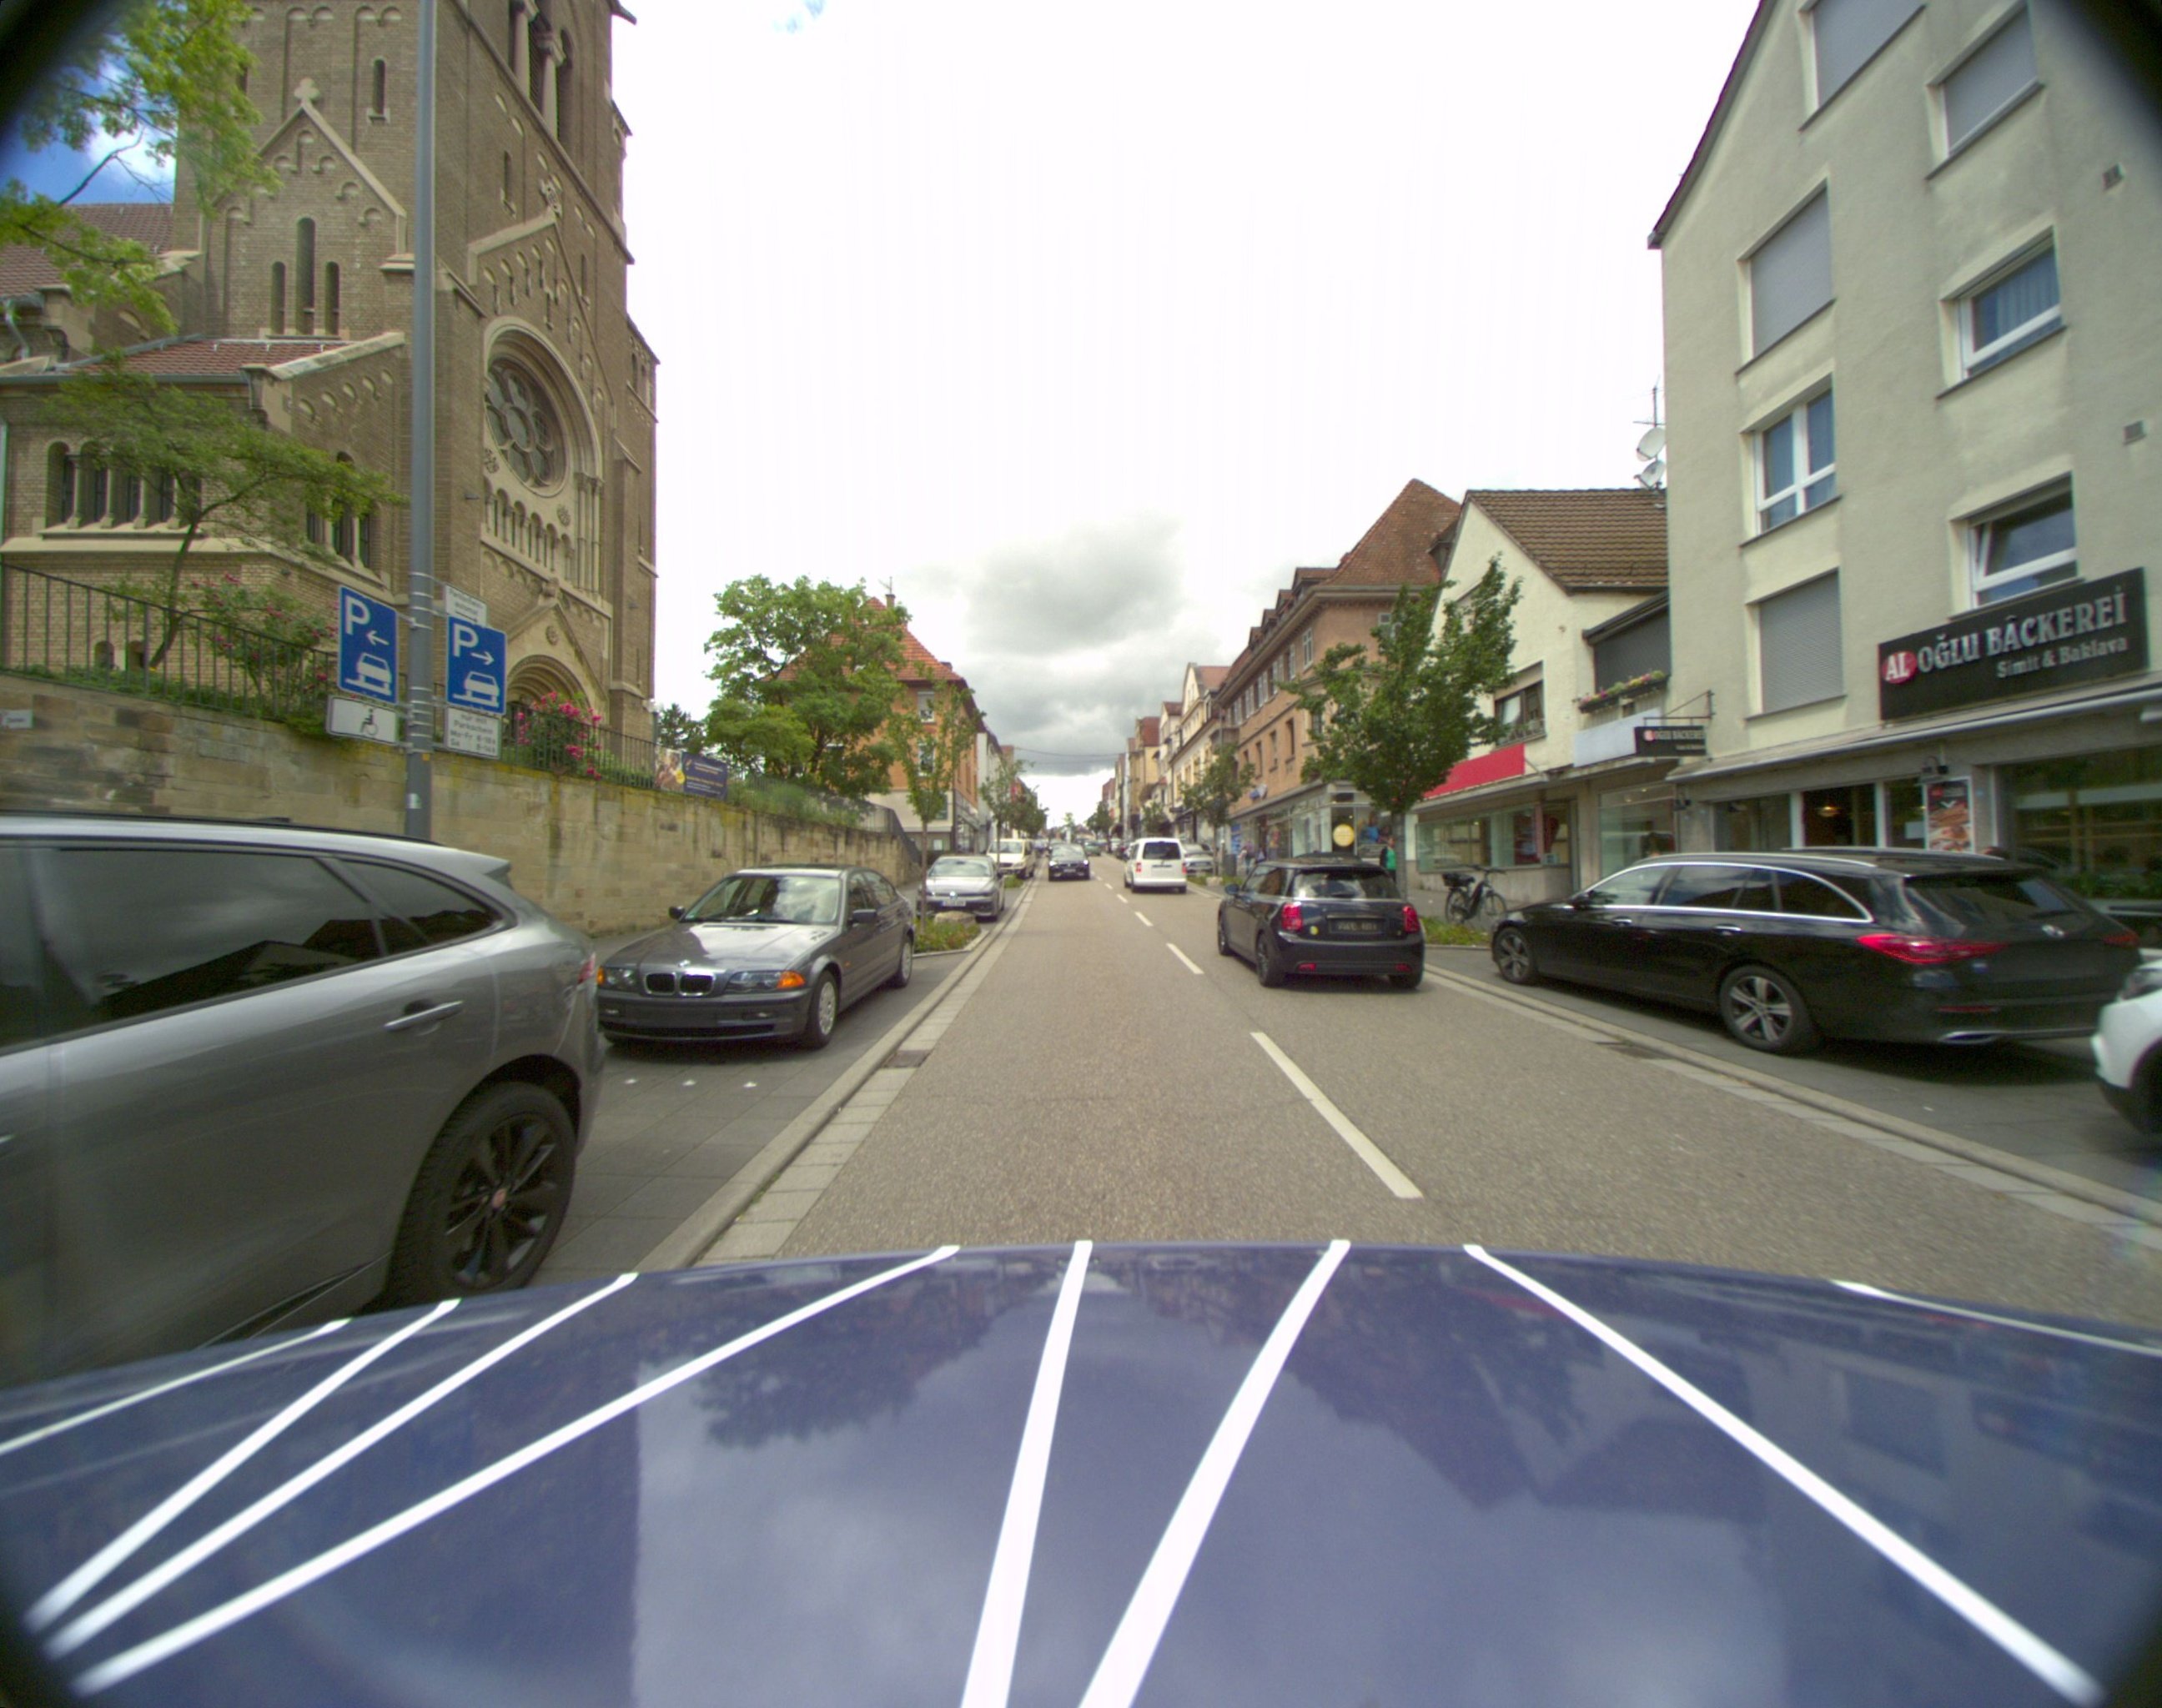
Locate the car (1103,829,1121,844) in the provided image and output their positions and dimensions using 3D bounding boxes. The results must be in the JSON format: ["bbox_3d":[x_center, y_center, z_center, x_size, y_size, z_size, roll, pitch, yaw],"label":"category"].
[{"bbox_3d":[3.220,-1.866,80.458,1.690,1.516,3.527,-1,2,-1],"label":"car"}]

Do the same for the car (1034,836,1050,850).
[{"bbox_3d":[-4.608,-1.317,90.105,1.774,1.516,3.527,-1,2,-1],"label":"car"}]

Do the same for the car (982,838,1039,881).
[{"bbox_3d":[-3.188,0.177,35.375,1.889,1.837,5.030,0,2,3],"label":"car"}]

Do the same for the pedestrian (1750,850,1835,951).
[{"bbox_3d":[9.304,0.588,9.953,0.551,1.260,0.598,-2,1,-1],"label":"pedestrian"}]

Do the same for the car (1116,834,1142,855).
[{"bbox_3d":[3.911,-0.830,62.619,1.732,1.670,3.990,-1,2,-1],"label":"car"}]

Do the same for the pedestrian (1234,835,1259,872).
[{"bbox_3d":[7.515,-0.039,34.443,0.873,1.657,0.906,-1,2,-3],"label":"pedestrian"}]

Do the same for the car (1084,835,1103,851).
[{"bbox_3d":[1.150,-1.096,71.944,1.686,1.492,4.152,0,2,-2],"label":"car"}]

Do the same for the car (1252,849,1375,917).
[{"bbox_3d":[5.582,0.613,18.814,1.661,1.384,4.442,-1,1,0],"label":"car"}]

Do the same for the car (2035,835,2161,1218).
[{"bbox_3d":[5.417,0.729,1.595,1.669,1.637,4.133,-2,0,1],"label":"car"}]

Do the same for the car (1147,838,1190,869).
[{"bbox_3d":[4.763,-0.071,41.998,1.669,1.518,3.961,-3,2,-3],"label":"car"}]

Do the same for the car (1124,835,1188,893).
[{"bbox_3d":[2.478,0.277,26.091,1.751,1.792,4.211,1,1,0],"label":"car"}]

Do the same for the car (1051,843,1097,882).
[{"bbox_3d":[-0.350,0.347,34.146,1.895,1.516,3.734,-2,2,-1],"label":"car"}]

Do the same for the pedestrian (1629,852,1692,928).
[{"bbox_3d":[9.821,0.595,12.893,0.597,1.239,0.598,-2,1,-1],"label":"pedestrian"}]

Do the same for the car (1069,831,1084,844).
[{"bbox_3d":[-0.620,-2.276,102.775,1.895,1.670,3.734,1,2,-1],"label":"car"}]

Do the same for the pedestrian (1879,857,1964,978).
[{"bbox_3d":[9.327,0.687,8.441,0.422,1.292,0.454,-2,1,-1],"label":"pedestrian"}]

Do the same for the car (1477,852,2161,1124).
[{"bbox_3d":[5.687,0.764,6.661,1.844,1.443,4.513,-2,1,-3],"label":"car"}]

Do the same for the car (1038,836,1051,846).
[{"bbox_3d":[-4.899,-1.753,103.034,1.690,1.366,3.527,-1,2,-1],"label":"car"}]

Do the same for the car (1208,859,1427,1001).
[{"bbox_3d":[2.699,0.785,9.521,1.611,1.380,3.628,0,1,0],"label":"car"}]

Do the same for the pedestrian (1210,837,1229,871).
[{"bbox_3d":[6.519,-0.013,35.823,0.629,1.564,0.650,-5,2,-1],"label":"pedestrian"}]

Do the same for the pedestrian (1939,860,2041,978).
[{"bbox_3d":[9.974,0.692,8.354,0.428,1.242,0.567,-2,1,-1],"label":"pedestrian"}]

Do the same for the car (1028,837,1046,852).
[{"bbox_3d":[-4.569,-1.027,79.901,1.774,1.516,3.527,-1,2,-1],"label":"car"}]

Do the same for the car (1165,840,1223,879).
[{"bbox_3d":[5.027,0.195,34.481,1.730,1.564,4.452,-1,2,-3],"label":"car"}]

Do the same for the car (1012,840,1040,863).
[{"bbox_3d":[-3.804,-0.217,52.951,1.816,1.440,3.943,2,2,-2],"label":"car"}]

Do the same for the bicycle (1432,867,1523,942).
[{"bbox_3d":[6.699,0.818,12.933,0.485,1.100,1.907,-2,1,-2],"label":"bicycle"}]

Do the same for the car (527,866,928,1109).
[{"bbox_3d":[-2.803,0.935,7.272,1.685,1.409,4.370,-1,2,1],"label":"car"}]

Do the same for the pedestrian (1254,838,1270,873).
[{"bbox_3d":[7.726,0.048,32.418,0.497,1.469,0.528,-1,2,-3],"label":"pedestrian"}]

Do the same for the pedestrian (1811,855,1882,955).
[{"bbox_3d":[9.916,0.647,9.856,0.396,1.242,0.500,-2,1,-1],"label":"pedestrian"}]

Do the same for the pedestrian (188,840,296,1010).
[{"bbox_3d":[-8.386,0.682,7.610,0.473,1.636,0.507,0,2,11],"label":"pedestrian"}]

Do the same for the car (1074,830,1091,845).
[{"bbox_3d":[0.134,-1.955,88.012,1.830,1.680,3.857,0,2,-2],"label":"car"}]

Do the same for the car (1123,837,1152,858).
[{"bbox_3d":[4.085,-0.473,55.512,1.732,1.423,3.501,-1,2,-1],"label":"car"}]

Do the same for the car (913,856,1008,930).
[{"bbox_3d":[-2.715,0.822,17.941,1.759,1.433,4.087,0,2,-3],"label":"car"}]

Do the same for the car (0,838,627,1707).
[{"bbox_3d":[-2.872,0.843,0.949,1.933,1.714,4.572,-1,0,-2],"label":"car"}]

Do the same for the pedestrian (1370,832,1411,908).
[{"bbox_3d":[7.372,0.368,18.122,0.661,1.751,0.778,-1,2,2],"label":"pedestrian"}]

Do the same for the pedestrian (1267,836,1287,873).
[{"bbox_3d":[8.355,0.017,32.389,0.615,1.573,0.642,-1,2,-3],"label":"pedestrian"}]
